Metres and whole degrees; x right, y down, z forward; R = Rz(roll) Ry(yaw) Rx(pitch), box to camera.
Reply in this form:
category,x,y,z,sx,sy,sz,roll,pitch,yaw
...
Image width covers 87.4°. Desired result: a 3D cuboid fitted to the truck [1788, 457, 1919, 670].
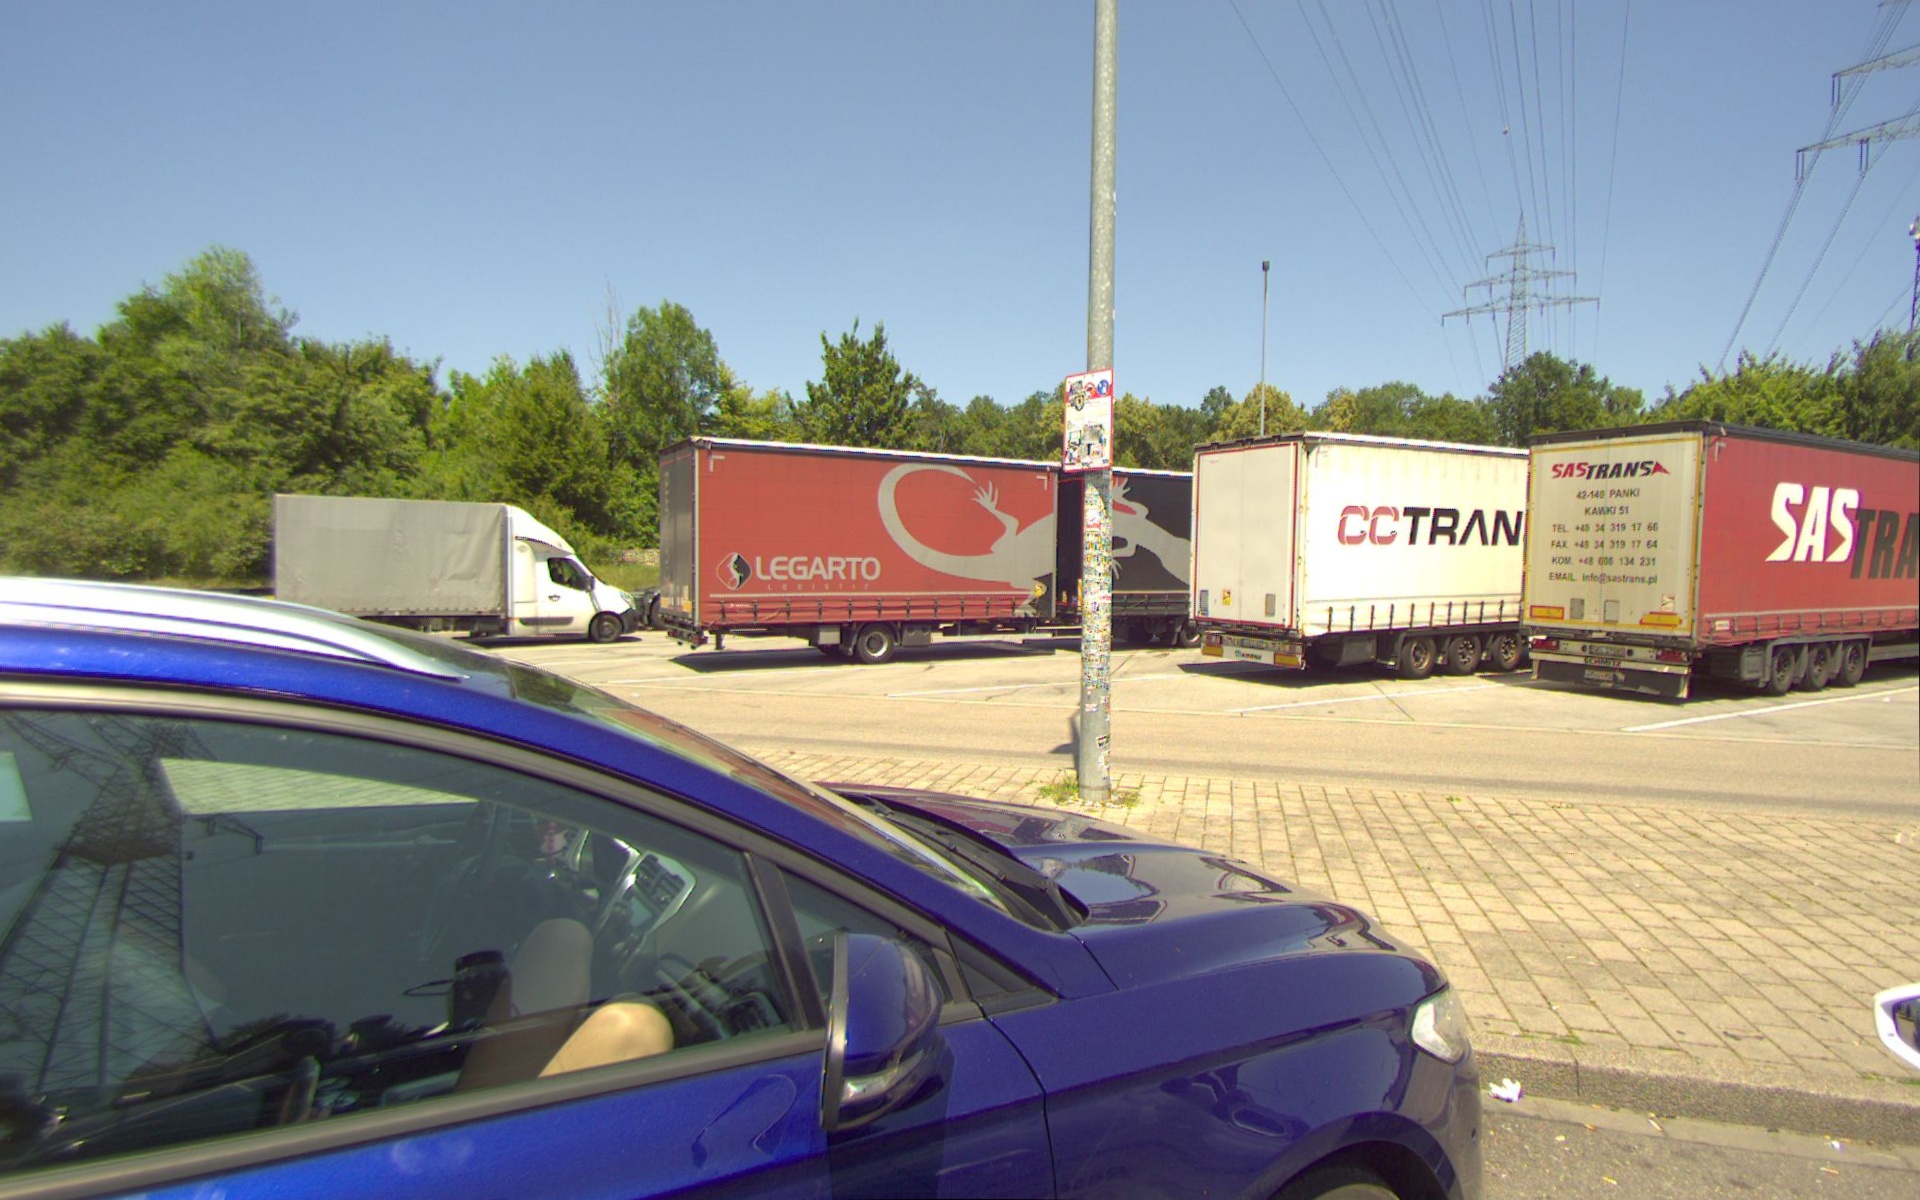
category,x,y,z,sx,sy,sz,roll,pitch,yaw
truck,21.137,-0.775,21.857,6.163,4.169,2.683,-1,3,-30

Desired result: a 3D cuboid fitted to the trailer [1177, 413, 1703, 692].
category,x,y,z,sx,sy,sz,roll,pitch,yaw
trailer,10.106,-0.885,20.060,12.786,4.325,2.800,-1,2,-31

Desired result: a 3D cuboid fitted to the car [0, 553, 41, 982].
category,x,y,z,sx,sy,sz,roll,pitch,yaw
car,-4.619,0.553,2.111,3.700,1.432,1.595,0,0,-32

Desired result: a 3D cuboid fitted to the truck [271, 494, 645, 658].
category,x,y,z,sx,sy,sz,roll,pitch,yaw
truck,-11.120,-0.593,22.869,7.219,3.277,2.308,-2,3,-29

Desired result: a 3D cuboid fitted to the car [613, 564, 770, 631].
category,x,y,z,sx,sy,sz,roll,pitch,yaw
car,-7.609,-0.055,28.511,3.953,1.773,1.902,0,0,-30

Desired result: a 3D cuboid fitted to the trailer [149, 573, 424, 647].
category,x,y,z,sx,sy,sz,roll,pitch,yaw
trailer,-15.955,0.233,24.176,5.332,1.617,1.585,0,0,-30

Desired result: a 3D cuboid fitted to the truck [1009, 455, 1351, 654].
category,x,y,z,sx,sy,sz,roll,pitch,yaw
truck,5.598,-1.083,24.822,8.683,4.248,2.800,-1,2,-30

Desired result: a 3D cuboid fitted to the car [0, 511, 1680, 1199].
category,x,y,z,sx,sy,sz,roll,pitch,yaw
car,-0.993,0.668,1.459,4.380,1.464,1.771,0,0,-32

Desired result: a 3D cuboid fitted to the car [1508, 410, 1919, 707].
category,x,y,z,sx,sy,sz,roll,pitch,yaw
car,15.211,-0.695,18.447,12.777,4.169,2.683,-1,3,-30

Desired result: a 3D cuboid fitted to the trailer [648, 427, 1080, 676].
category,x,y,z,sx,sy,sz,roll,pitch,yaw
trailer,-1.749,-0.934,20.499,8.389,4.248,2.800,-1,2,-30
